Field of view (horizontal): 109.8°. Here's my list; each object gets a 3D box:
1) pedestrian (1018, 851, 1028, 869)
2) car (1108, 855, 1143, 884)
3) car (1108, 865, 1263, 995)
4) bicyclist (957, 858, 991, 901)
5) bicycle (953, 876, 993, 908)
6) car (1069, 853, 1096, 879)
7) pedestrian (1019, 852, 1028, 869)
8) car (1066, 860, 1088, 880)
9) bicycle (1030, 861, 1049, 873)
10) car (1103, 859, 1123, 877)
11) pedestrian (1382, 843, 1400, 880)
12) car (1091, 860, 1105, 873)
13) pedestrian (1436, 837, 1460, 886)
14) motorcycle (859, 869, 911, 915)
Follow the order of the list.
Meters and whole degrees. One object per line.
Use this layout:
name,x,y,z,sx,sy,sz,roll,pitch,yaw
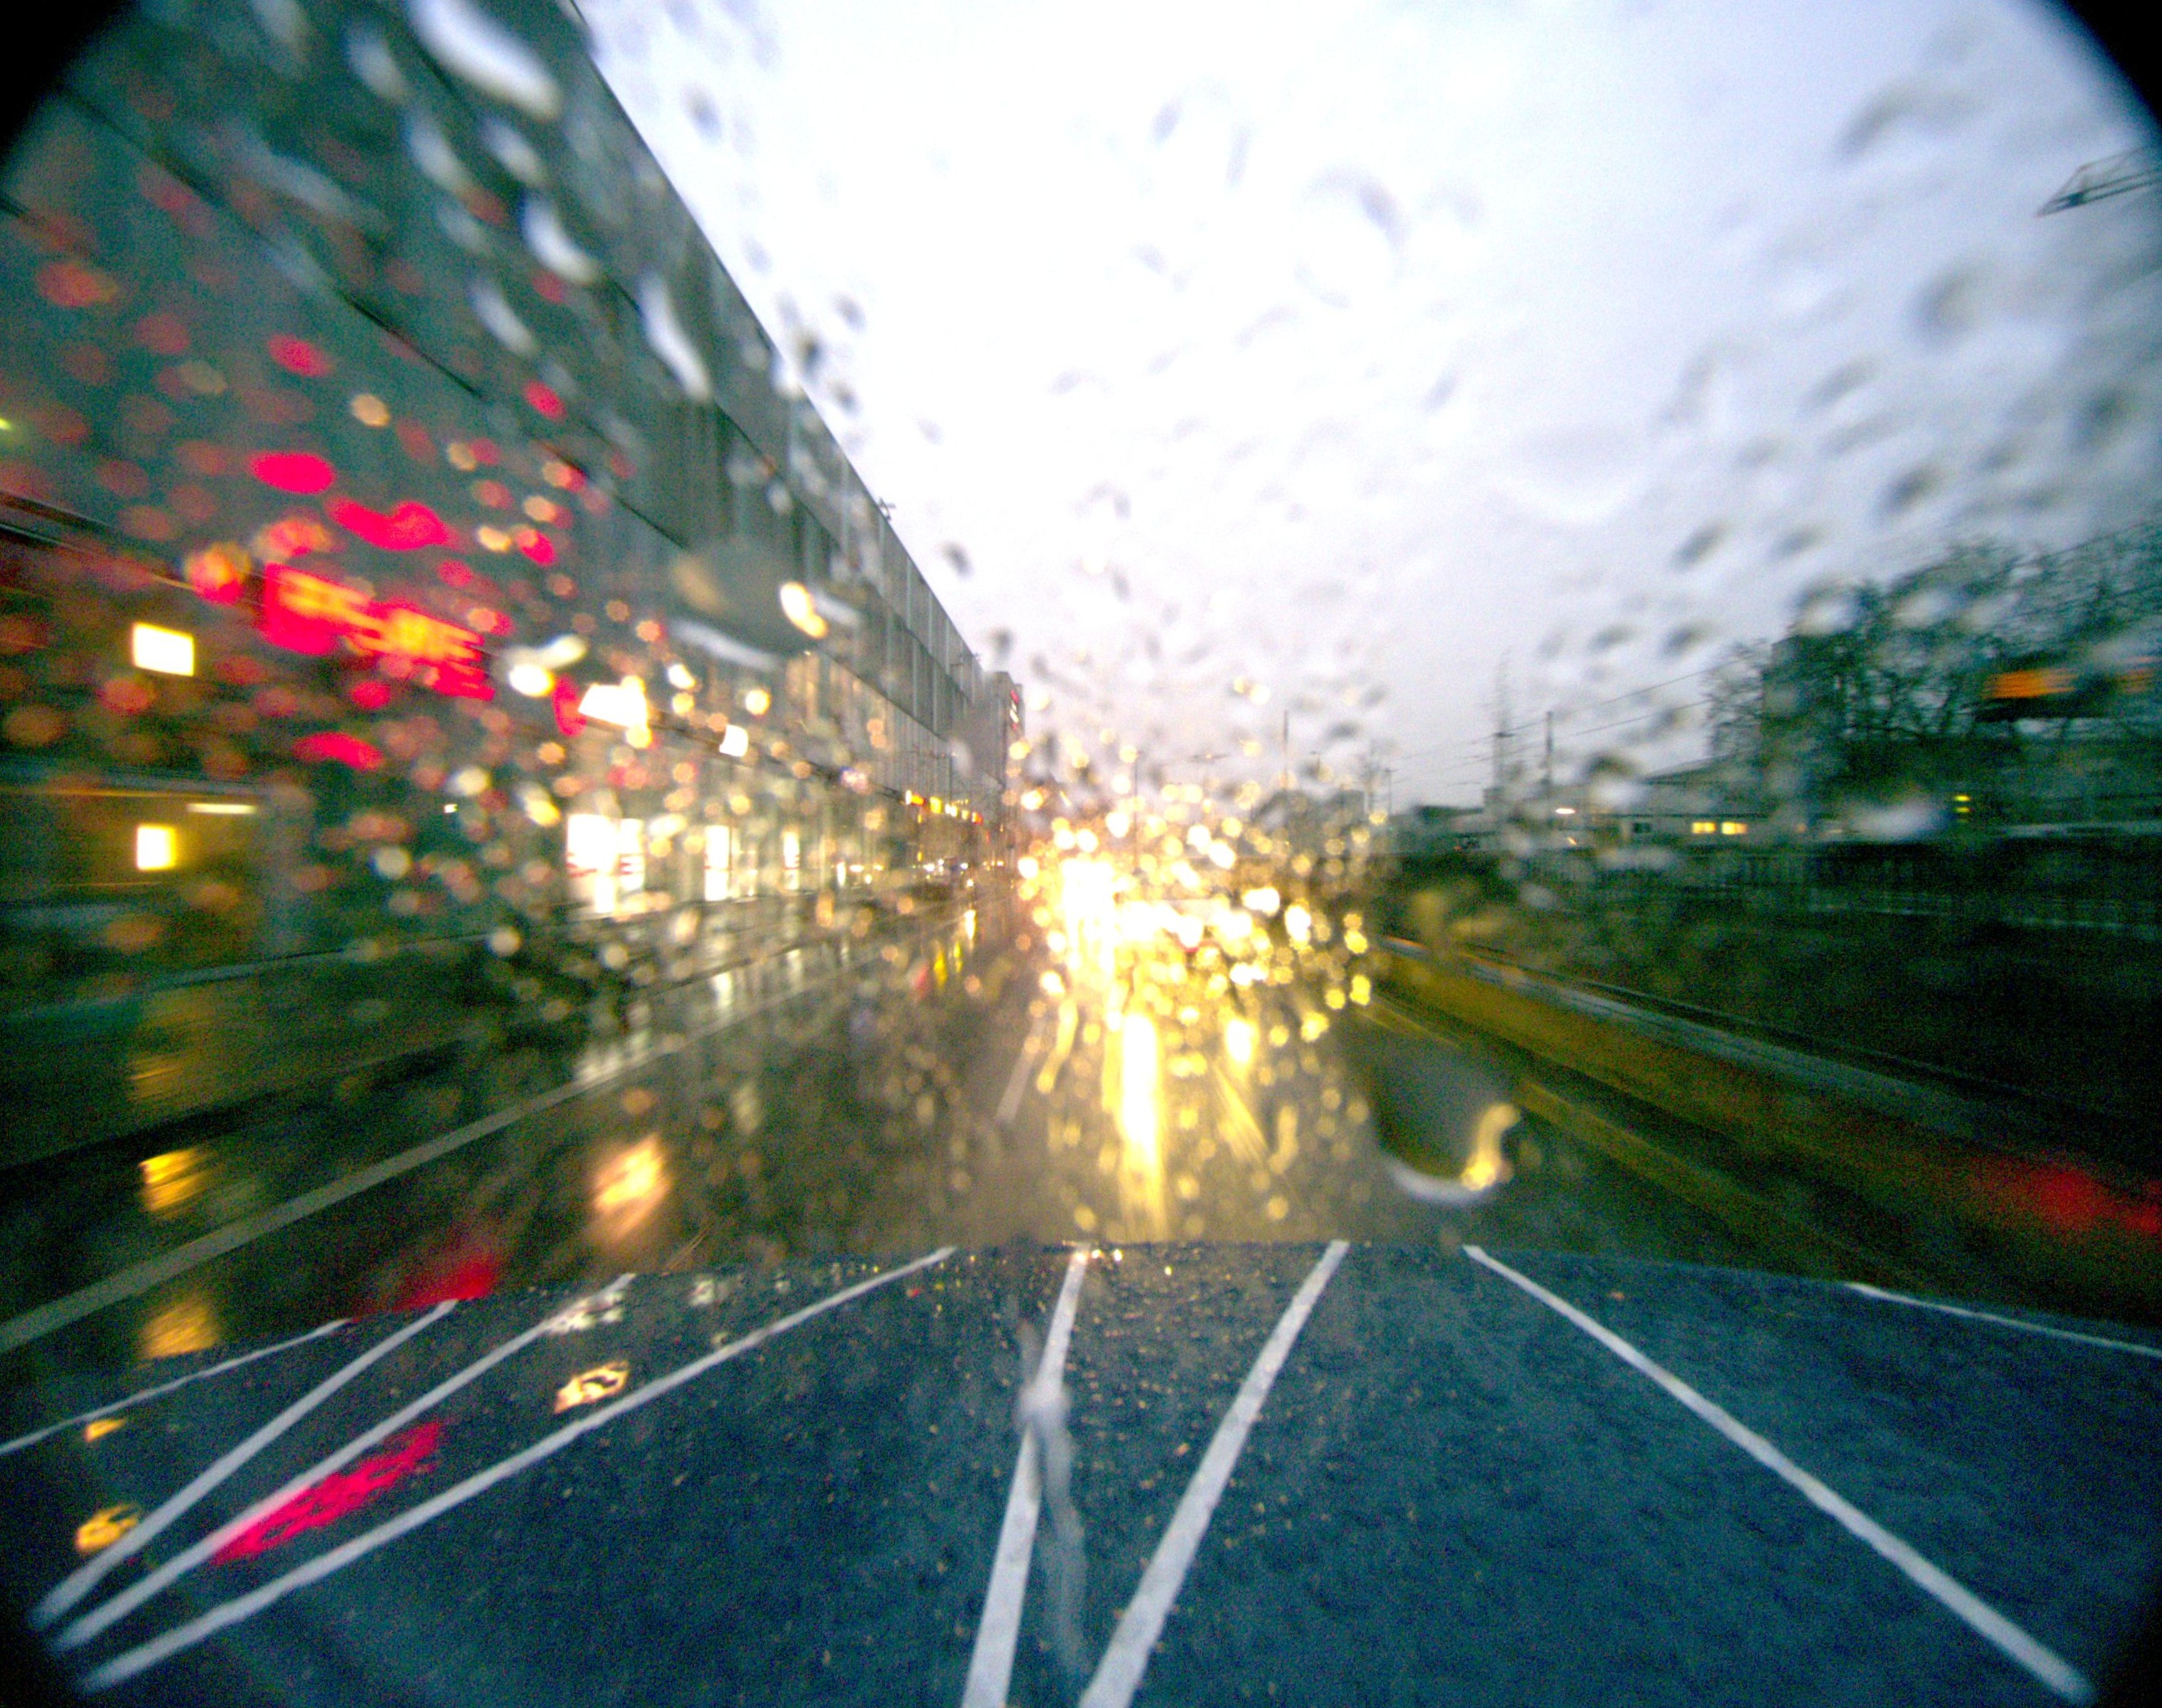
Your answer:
pedestrian,-7.167,0.765,93.826,0.960,2.179,0.712,0,1,14
car,2.737,0.899,46.337,1.998,1.673,4.001,-1,0,3
car,1.369,0.942,11.122,1.813,1.464,4.140,-1,0,4
bicyclist,-3.703,0.880,26.375,0.945,1.454,1.066,-1,0,3
bicycle,-3.702,1.280,26.295,0.945,0.993,2.241,-1,0,3
car,0.131,0.878,57.567,1.865,1.867,4.001,-1,0,3
pedestrian,-7.173,0.775,94.532,0.965,2.149,0.581,0,1,13
car,-0.393,1.612,77.438,1.998,2.002,4.000,-1,0,2
bicycle,-4.204,1.310,77.026,1.908,1.168,0.667,1,0,1
car,3.089,1.298,73.363,1.867,1.652,3.987,-1,0,2
pedestrian,13.110,0.332,32.122,0.585,1.541,0.741,-1,0,13
car,2.304,1.656,101.647,1.867,1.652,3.987,-1,0,2
pedestrian,12.865,0.251,26.636,0.585,1.691,0.741,-1,0,13
motorcycle,-6.113,1.150,23.682,1.904,1.326,0.597,1,2,42
